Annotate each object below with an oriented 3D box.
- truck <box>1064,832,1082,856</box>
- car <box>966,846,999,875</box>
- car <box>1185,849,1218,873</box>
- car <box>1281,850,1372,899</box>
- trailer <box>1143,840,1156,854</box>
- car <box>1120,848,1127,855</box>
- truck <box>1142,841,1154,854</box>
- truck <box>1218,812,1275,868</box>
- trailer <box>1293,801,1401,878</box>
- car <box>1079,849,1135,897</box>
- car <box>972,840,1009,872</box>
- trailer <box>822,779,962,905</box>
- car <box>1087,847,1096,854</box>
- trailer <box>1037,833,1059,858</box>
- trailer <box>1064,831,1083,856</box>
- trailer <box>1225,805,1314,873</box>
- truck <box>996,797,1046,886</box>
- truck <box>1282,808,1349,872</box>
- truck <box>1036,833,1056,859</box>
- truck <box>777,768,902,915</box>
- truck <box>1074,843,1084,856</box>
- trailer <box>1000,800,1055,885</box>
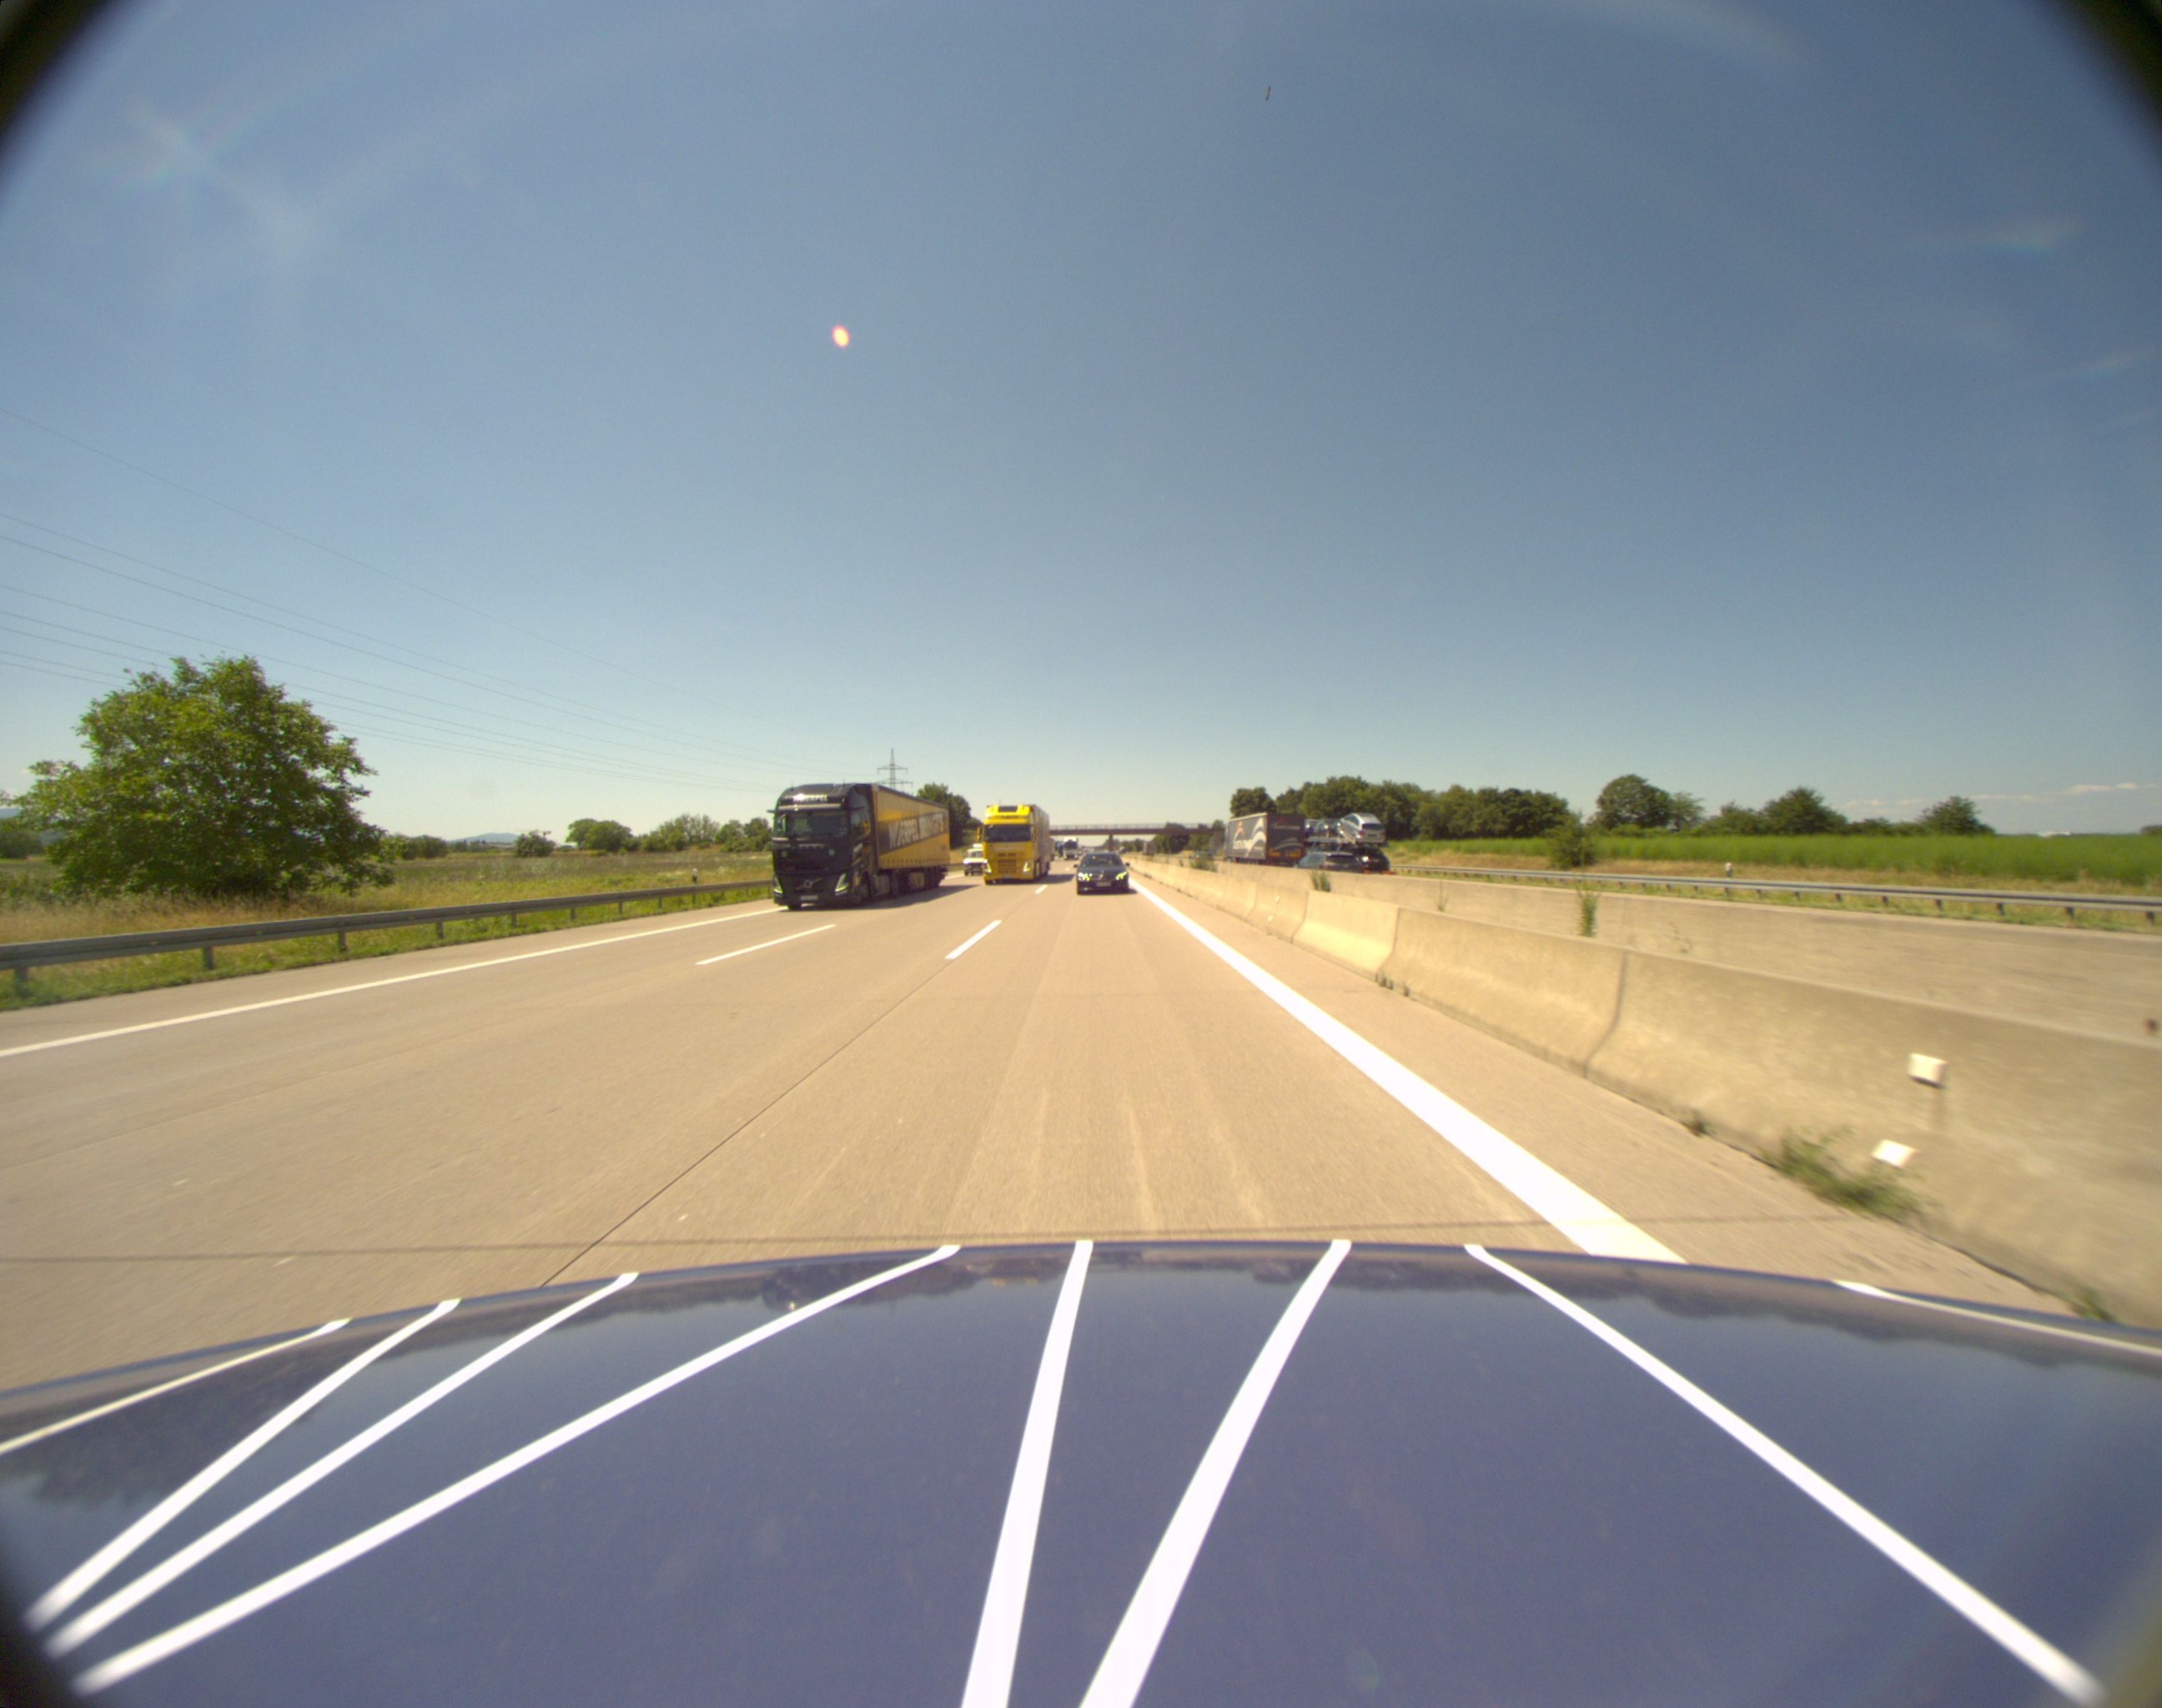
[{"bbox_3d":[-1.389,-1.818,135.243,2.959,4.122,6.151,-2,1,1],"label":"truck"},{"bbox_3d":[-7.175,0.424,55.826,1.788,2.002,3.819,-2,1,1],"label":"car"},{"bbox_3d":[9.817,0.517,62.337,1.998,1.772,4.743,-2,1,1],"label":"car"},{"bbox_3d":[9.241,0.697,29.083,1.909,1.641,4.933,-2,1,1],"label":"car"},{"bbox_3d":[20.385,-2.080,226.872,2.989,4.066,11.604,1,1,1],"label":"trailer"},{"bbox_3d":[13.674,-0.819,242.584,1.998,1.851,5.466,-2,1,1],"label":"car"},{"bbox_3d":[20.458,-1.975,232.078,2.989,4.066,6.465,1,1,1],"label":"truck"},{"bbox_3d":[13.850,-1.124,64.100,3.276,4.450,7.188,0,1,1],"label":"truck"},{"bbox_3d":[17.995,-0.947,52.650,3.239,4.580,12.292,-2,1,1],"label":"trailer"},{"bbox_3d":[0.909,0.628,27.764,1.848,1.576,3.939,-2,1,1],"label":"car"},{"bbox_3d":[-7.112,0.106,60.486,2.139,2.334,5.515,-2,1,1],"label":"car"},{"bbox_3d":[-7.523,-0.476,32.961,1.998,4.169,14.744,-2,1,1],"label":"trailer"},{"bbox_3d":[2.911,-1.062,211.691,1.999,1.827,4.815,-2,1,-2],"label":"car"},{"bbox_3d":[-5.838,-1.475,135.778,2.959,4.122,13.809,-2,1,1],"label":"trailer"},{"bbox_3d":[-1.313,-1.904,139.506,2.959,4.122,12.024,-2,1,1],"label":"trailer"},{"bbox_3d":[13.746,-1.058,57.228,3.276,4.450,14.450,0,1,1],"label":"trailer"},{"bbox_3d":[-3.023,-0.640,39.199,1.998,4.230,5.194,-2,1,0],"label":"truck"},{"bbox_3d":[18.082,-1.087,58.988,3.239,4.580,6.250,-2,1,1],"label":"truck"},{"bbox_3d":[-5.931,-1.330,129.032,2.960,4.122,6.151,-2,1,0],"label":"truck"},{"bbox_3d":[-7.647,-0.377,24.801,1.998,4.169,5.705,-2,1,1],"label":"truck"},{"bbox_3d":[-0.688,-1.412,255.077,2.959,4.122,10.016,-2,1,1],"label":"truck"},{"bbox_3d":[-2.978,-0.643,46.190,1.998,4.230,15.197,-2,1,0],"label":"trailer"}]
